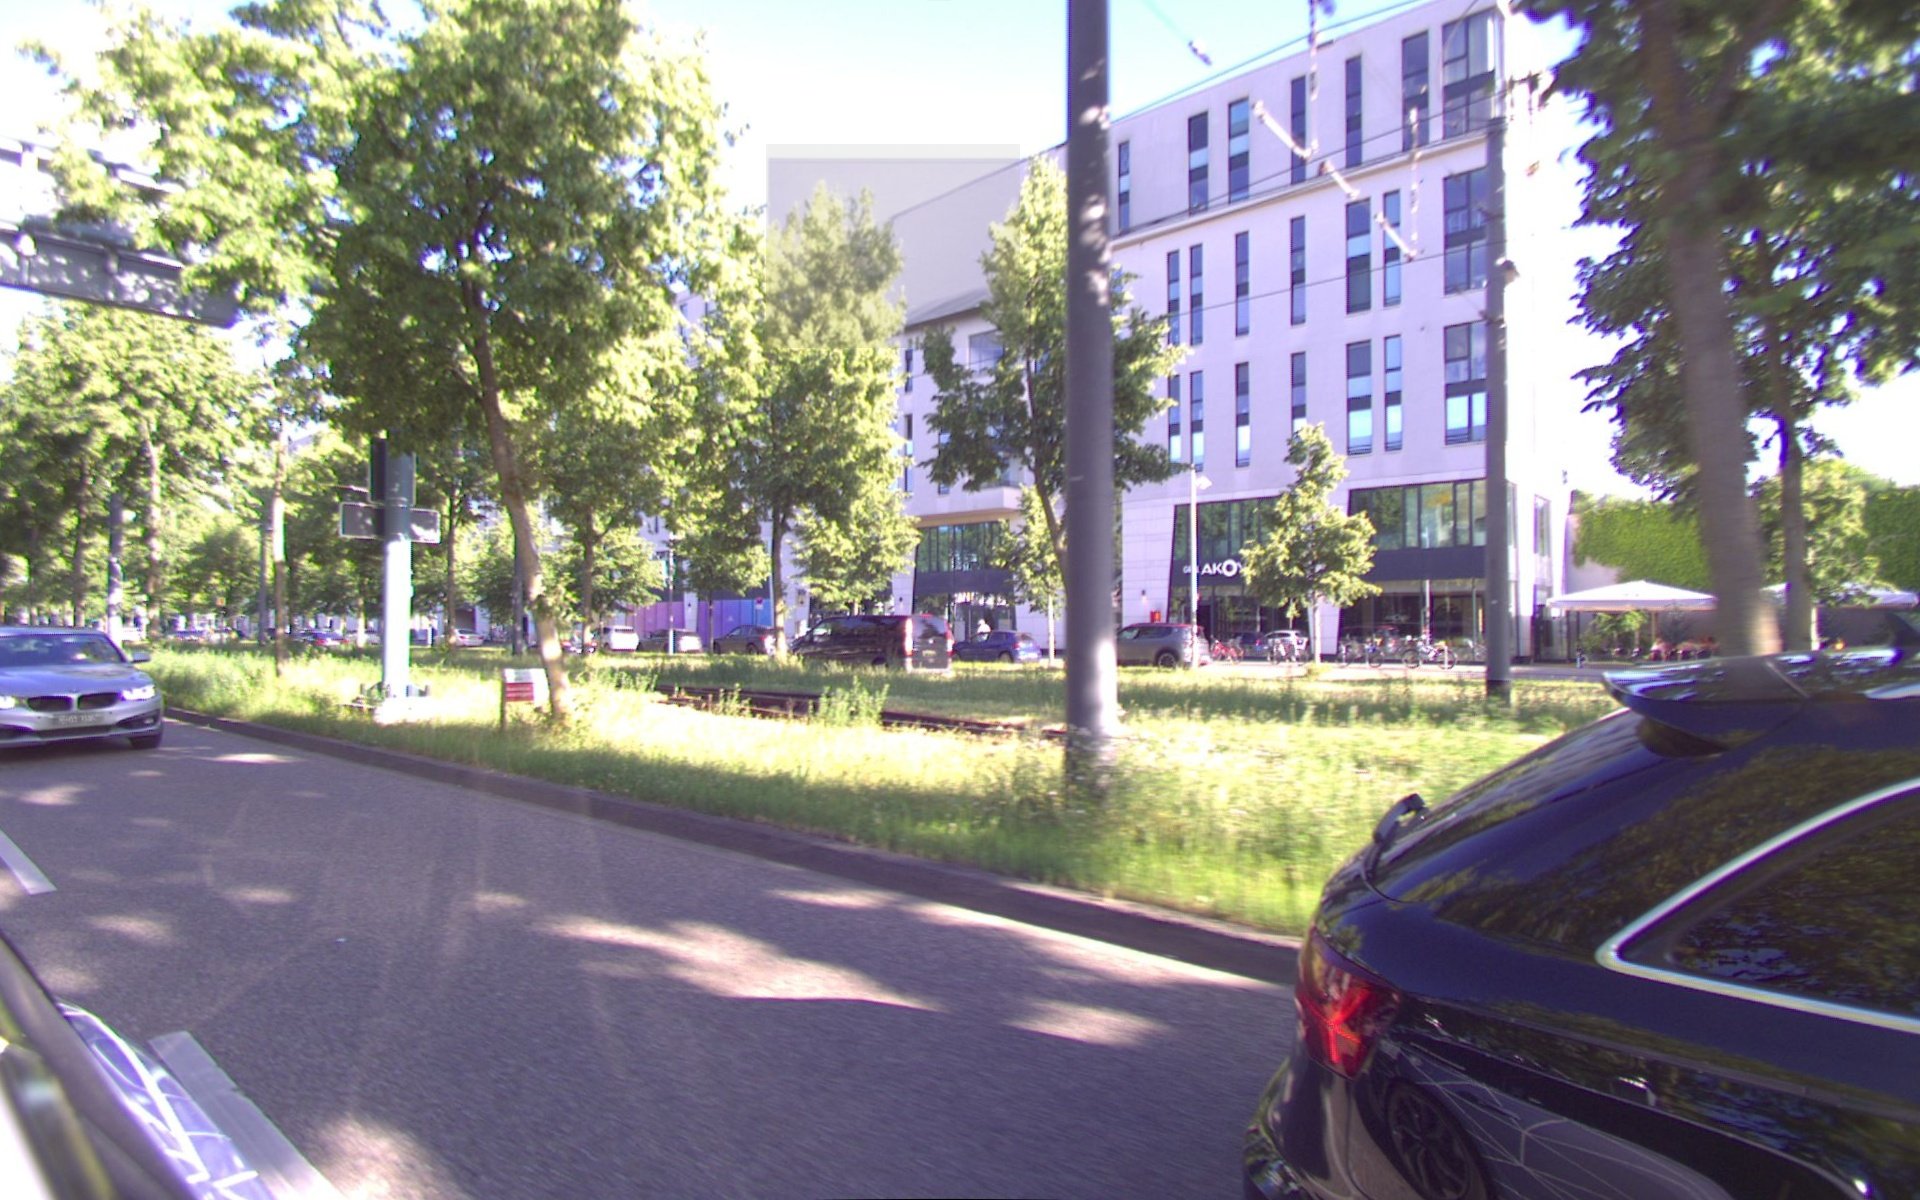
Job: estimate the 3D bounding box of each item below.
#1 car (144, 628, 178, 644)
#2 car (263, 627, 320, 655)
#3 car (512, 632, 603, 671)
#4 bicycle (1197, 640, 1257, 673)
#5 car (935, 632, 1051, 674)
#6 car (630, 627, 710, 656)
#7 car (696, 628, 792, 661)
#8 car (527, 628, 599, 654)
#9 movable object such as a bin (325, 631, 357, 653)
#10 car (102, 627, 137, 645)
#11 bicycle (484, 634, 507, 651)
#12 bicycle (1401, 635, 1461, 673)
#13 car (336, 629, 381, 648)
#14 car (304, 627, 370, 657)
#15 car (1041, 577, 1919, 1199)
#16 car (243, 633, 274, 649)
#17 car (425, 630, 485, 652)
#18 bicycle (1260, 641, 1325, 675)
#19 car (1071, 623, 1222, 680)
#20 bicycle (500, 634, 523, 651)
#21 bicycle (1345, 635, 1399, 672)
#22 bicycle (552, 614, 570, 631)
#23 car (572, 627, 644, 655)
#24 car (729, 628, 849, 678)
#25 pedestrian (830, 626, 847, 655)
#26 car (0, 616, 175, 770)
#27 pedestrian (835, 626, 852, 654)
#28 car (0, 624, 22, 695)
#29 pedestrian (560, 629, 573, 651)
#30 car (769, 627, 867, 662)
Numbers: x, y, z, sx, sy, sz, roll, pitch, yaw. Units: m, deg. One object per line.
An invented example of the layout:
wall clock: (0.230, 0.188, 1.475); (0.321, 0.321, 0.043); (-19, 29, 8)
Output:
car: (-82.660, 3.712, 104.695); (5.109, 1.452, 1.972); (-1, 0, 42)
car: (-45.550, 2.766, 68.907); (5.248, 1.855, 1.972); (-2, -2, 41)
car: (-17.740, 2.220, 44.568); (4.317, 1.539, 1.973); (-1, 0, 41)
bicycle: (10.728, 2.252, 40.669); (2.239, 1.207, 0.726); (-1, 0, 41)
car: (1.242, 2.019, 39.334); (4.264, 1.452, 1.937); (-1, 0, 42)
car: (-15.659, 2.217, 54.533); (4.451, 1.452, 1.974); (-1, 0, 39)
car: (-10.662, 2.155, 49.824); (4.931, 1.452, 1.974); (-1, 0, 39)
car: (-24.157, 2.453, 61.511); (4.774, 1.452, 1.974); (-1, 0, 39)
movable object such as a bin: (-53.088, 3.566, 86.804); (1.554, 1.808, 1.951); (-1, 0, 39)
car: (-85.261, 3.610, 102.654); (5.108, 1.698, 1.973); (-1, 0, 41)
bicycle: (-37.725, 3.461, 82.179); (0.935, 1.290, 2.775); (-1, 0, -42)
bicycle: (16.523, 1.886, 35.527); (1.839, 1.262, 0.582); (-1, 0, 41)
car: (-50.205, 3.187, 84.405); (4.015, 1.452, 1.974); (-1, 0, 39)
car: (-33.585, 2.243, 54.485); (4.457, 1.452, 1.971); (-1, 0, 44)
car: (2.665, 0.682, 0.674); (5.084, 1.492, 1.932); (-2, -1, 42)
car: (-71.011, 4.120, 102.476); (4.268, 1.491, 1.542); (-2, -1, 41)
car: (-36.261, 2.927, 72.663); (4.920, 1.452, 1.974); (-1, 0, 39)
bicycle: (12.750, 2.216, 38.838); (2.239, 1.207, 0.726); (-1, 0, 41)
car: (6.392, 1.714, 34.940); (4.771, 1.785, 1.974); (-1, 0, 39)
bicycle: (-36.614, 3.443, 82.593); (0.935, 1.290, 2.775); (-1, 0, -42)
bicycle: (15.000, 1.932, 36.900); (0.579, 1.262, 1.846); (-1, 0, -27)
bicycle: (-30.016, 1.698, 76.148); (1.607, 1.290, 0.592); (-1, 0, 39)
car: (-20.263, 2.345, 58.180); (4.454, 1.452, 1.973); (-1, 0, 41)
car: (-5.898, 1.760, 34.690); (4.167, 1.583, 1.971); (-2, -2, 44)
pedestrian: (-7.109, 2.363, 59.242); (0.719, 1.663, 0.629); (-1, 0, 39)
car: (-11.333, 1.015, 12.482); (4.276, 1.590, 1.862); (-1, 0, 42)
pedestrian: (-6.919, 2.361, 60.142); (0.718, 1.663, 0.630); (-1, 0, 34)
car: (-22.887, 1.355, 23.093); (4.000, 1.534, 1.925); (-1, 0, 43)
pedestrian: (-30.754, 3.144, 79.141); (0.719, 1.663, 0.629); (-1, 0, 39)
car: (-6.571, 2.016, 46.511); (4.451, 1.452, 1.974); (-1, 0, 39)
